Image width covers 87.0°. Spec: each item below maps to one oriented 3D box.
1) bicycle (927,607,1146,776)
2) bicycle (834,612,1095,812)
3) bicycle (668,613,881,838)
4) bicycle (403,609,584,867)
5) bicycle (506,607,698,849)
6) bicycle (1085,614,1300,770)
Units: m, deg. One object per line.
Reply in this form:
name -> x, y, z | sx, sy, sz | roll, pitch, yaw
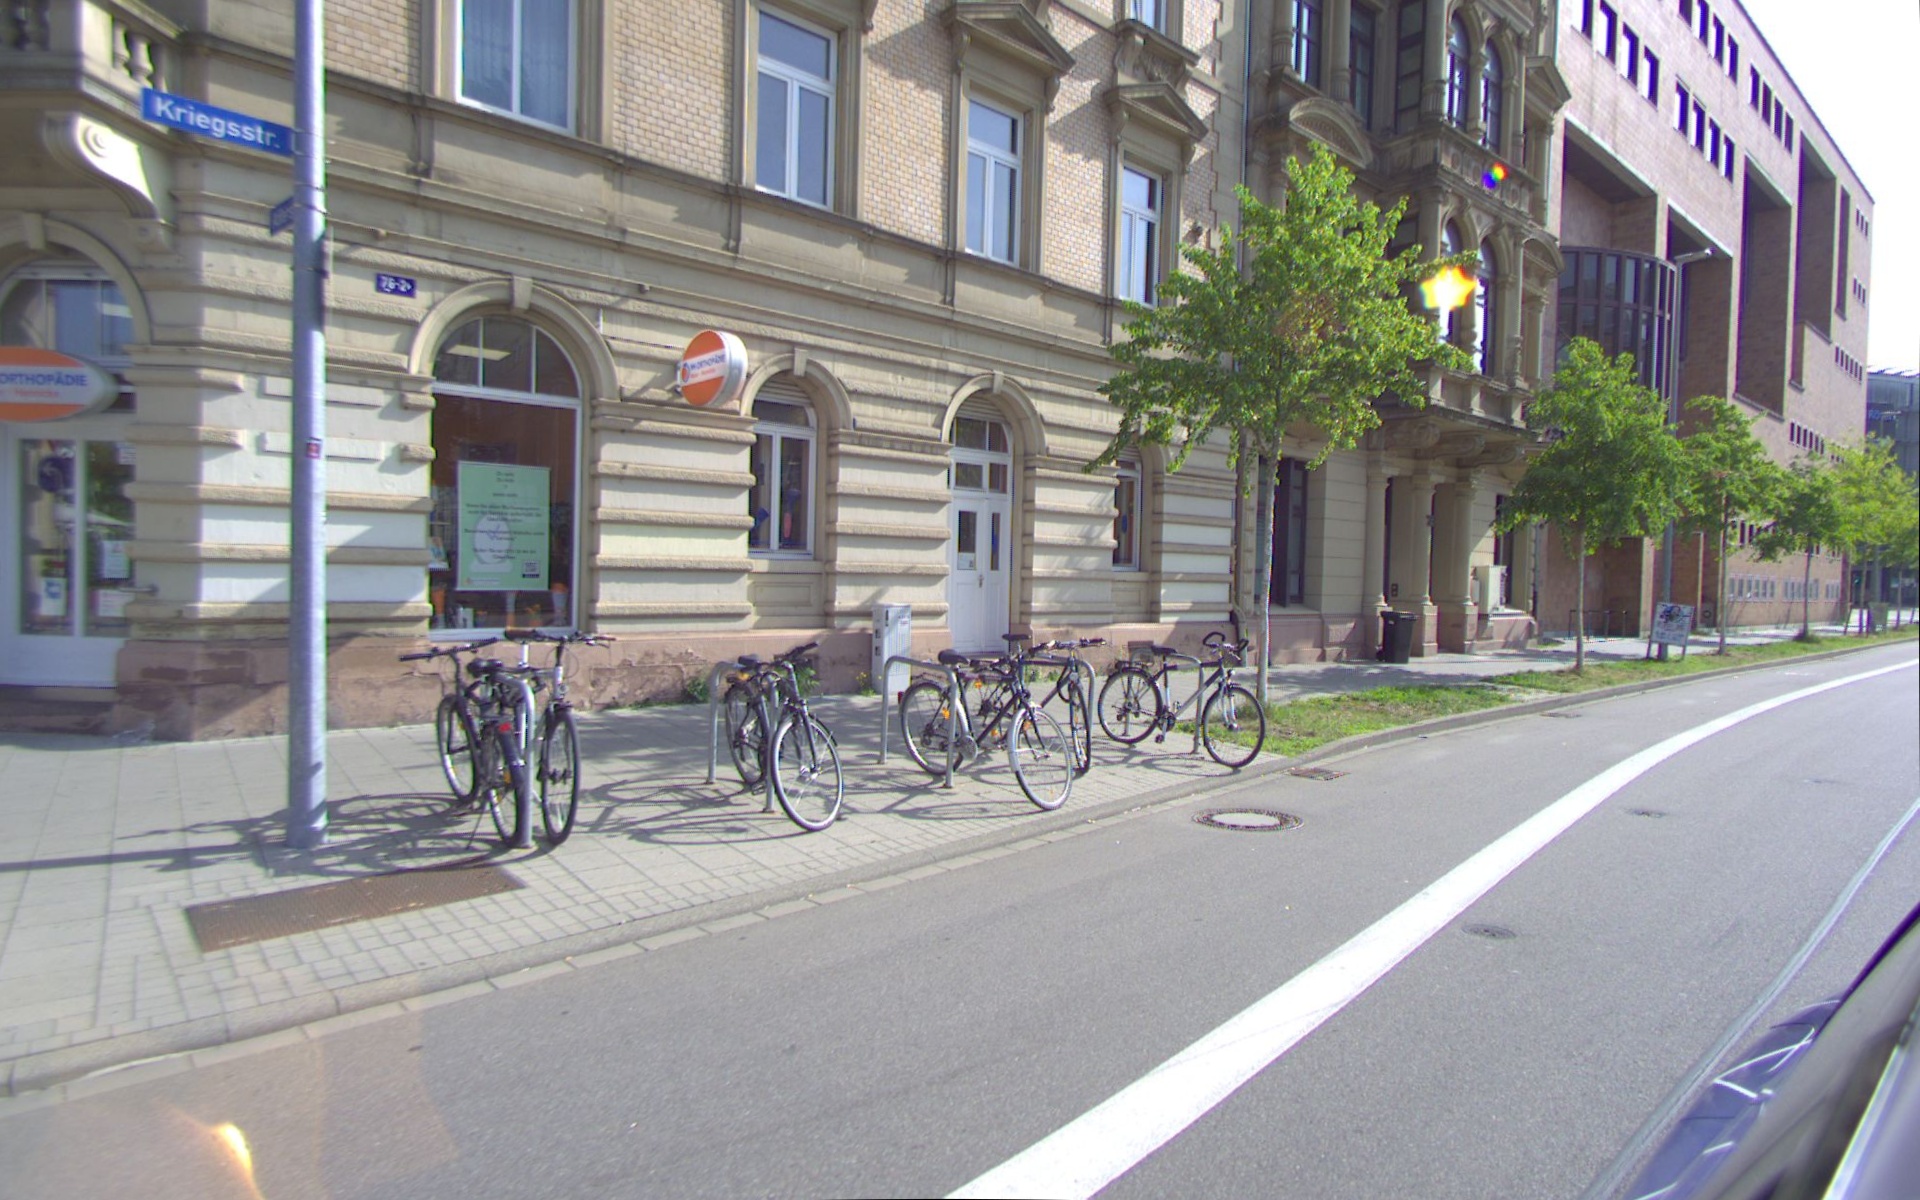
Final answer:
bicycle -> 0.602, 0.705, 8.497 | 1.755, 1.100, 0.648 | 7, 5, 41
bicycle -> 0.002, 0.735, 7.282 | 1.749, 1.100, 0.665 | 6, 5, 33
bicycle -> -1.248, 0.705, 6.500 | 0.656, 1.100, 1.762 | 1, 4, -34
bicycle -> -2.693, 0.672, 5.728 | 0.572, 1.100, 1.759 | 1, 4, -36
bicycle -> -2.193, 0.664, 6.049 | 0.572, 1.100, 1.759 | 1, 4, -36
bicycle -> 2.061, 0.769, 9.143 | 1.755, 1.100, 0.602 | 7, 5, 41
